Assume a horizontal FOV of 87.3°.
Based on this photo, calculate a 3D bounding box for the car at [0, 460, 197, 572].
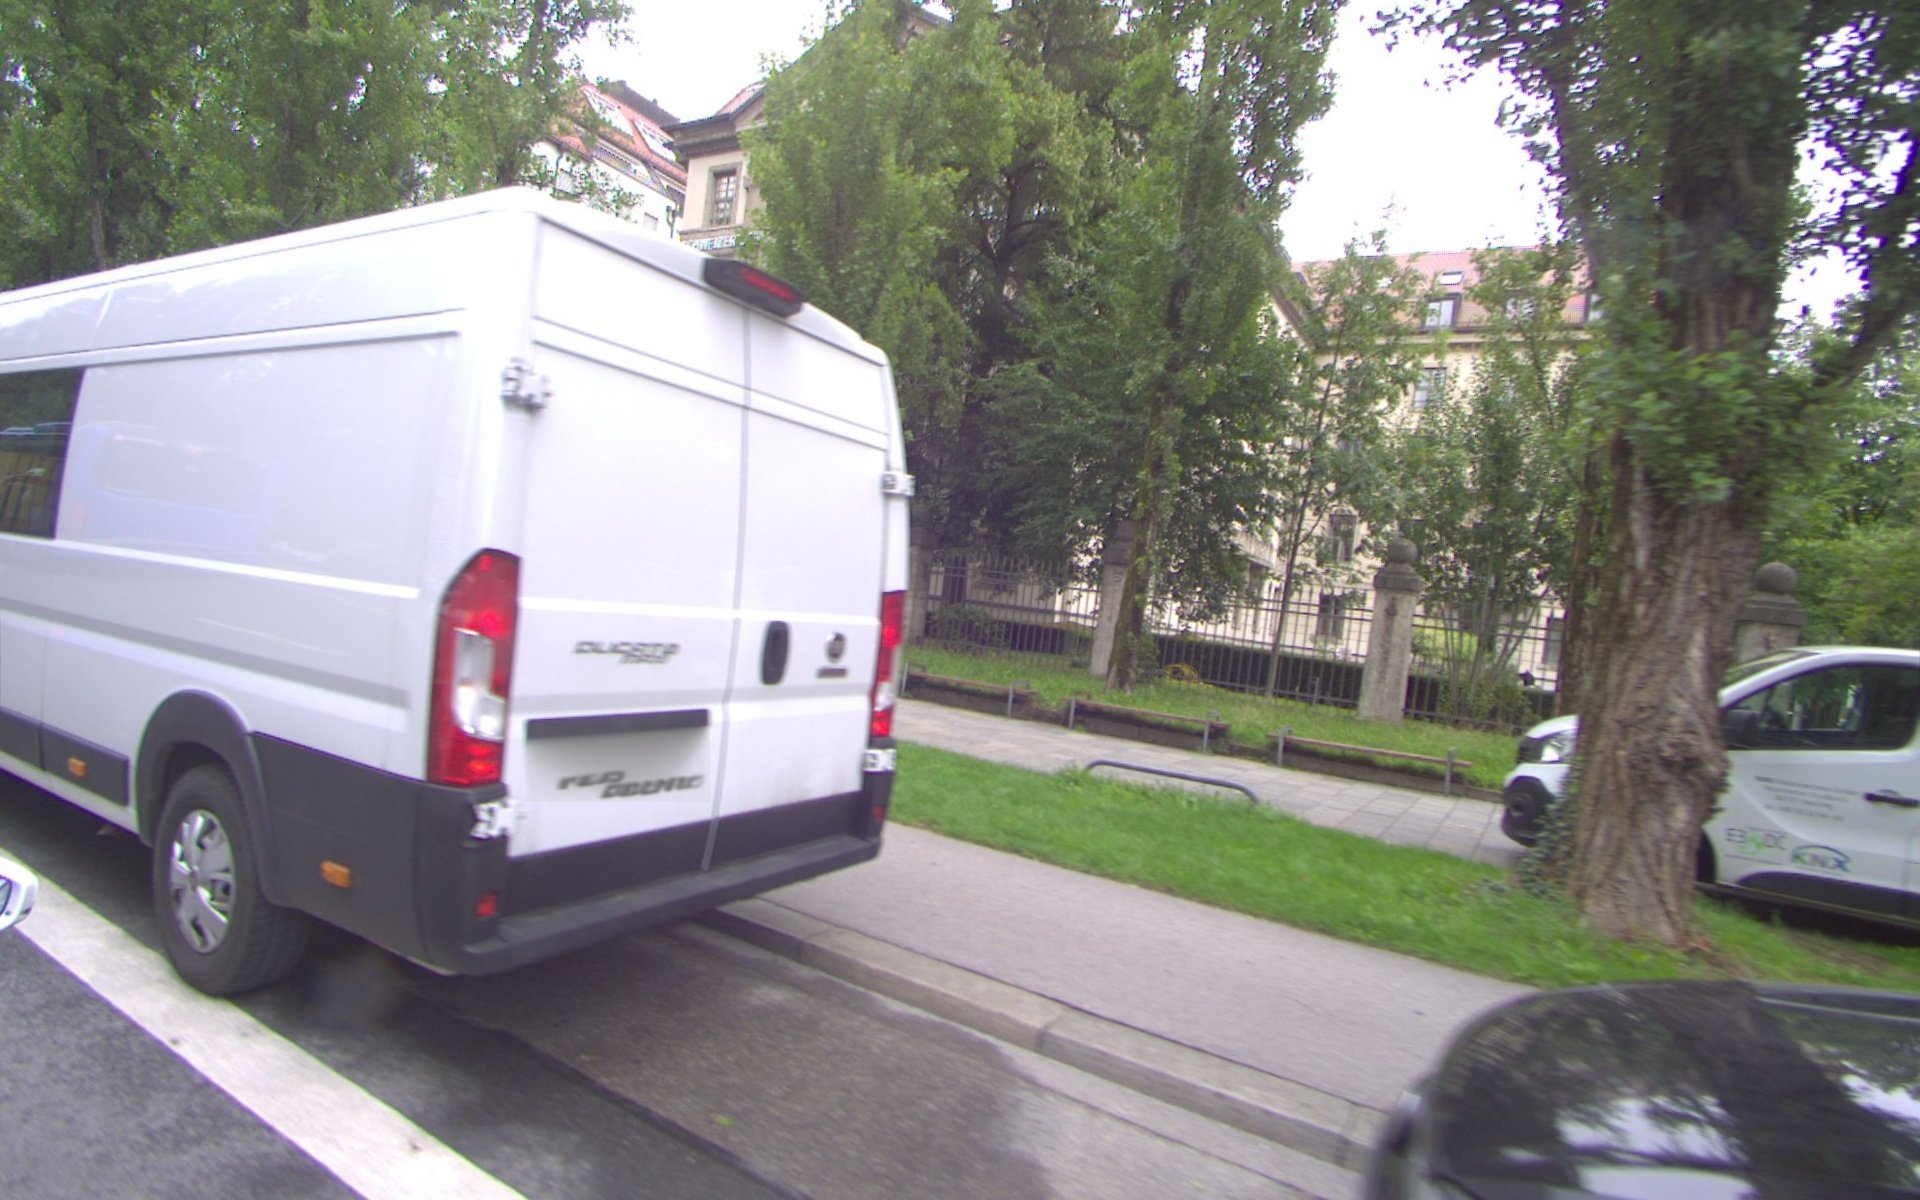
[{"bbox_3d":[-19.983,-1.958,23.065,5.234,1.949,1.997,7,0,30],"label":"car"}]

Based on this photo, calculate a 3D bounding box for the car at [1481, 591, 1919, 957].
[{"bbox_3d":[6.488,1.245,6.760,4.999,1.970,1.996,7,0,32],"label":"car"}]

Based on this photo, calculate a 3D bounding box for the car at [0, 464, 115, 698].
[{"bbox_3d":[-8.558,-0.375,7.699,4.152,1.609,1.824,7,-1,31],"label":"car"}]

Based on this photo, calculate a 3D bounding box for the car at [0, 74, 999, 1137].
[{"bbox_3d":[-3.146,-0.223,4.845,6.178,2.508,2.078,7,-1,31],"label":"car"}]

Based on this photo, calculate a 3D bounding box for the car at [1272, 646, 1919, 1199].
[{"bbox_3d":[2.545,1.104,1.147,3.933,1.466,1.759,7,-2,31],"label":"car"}]
